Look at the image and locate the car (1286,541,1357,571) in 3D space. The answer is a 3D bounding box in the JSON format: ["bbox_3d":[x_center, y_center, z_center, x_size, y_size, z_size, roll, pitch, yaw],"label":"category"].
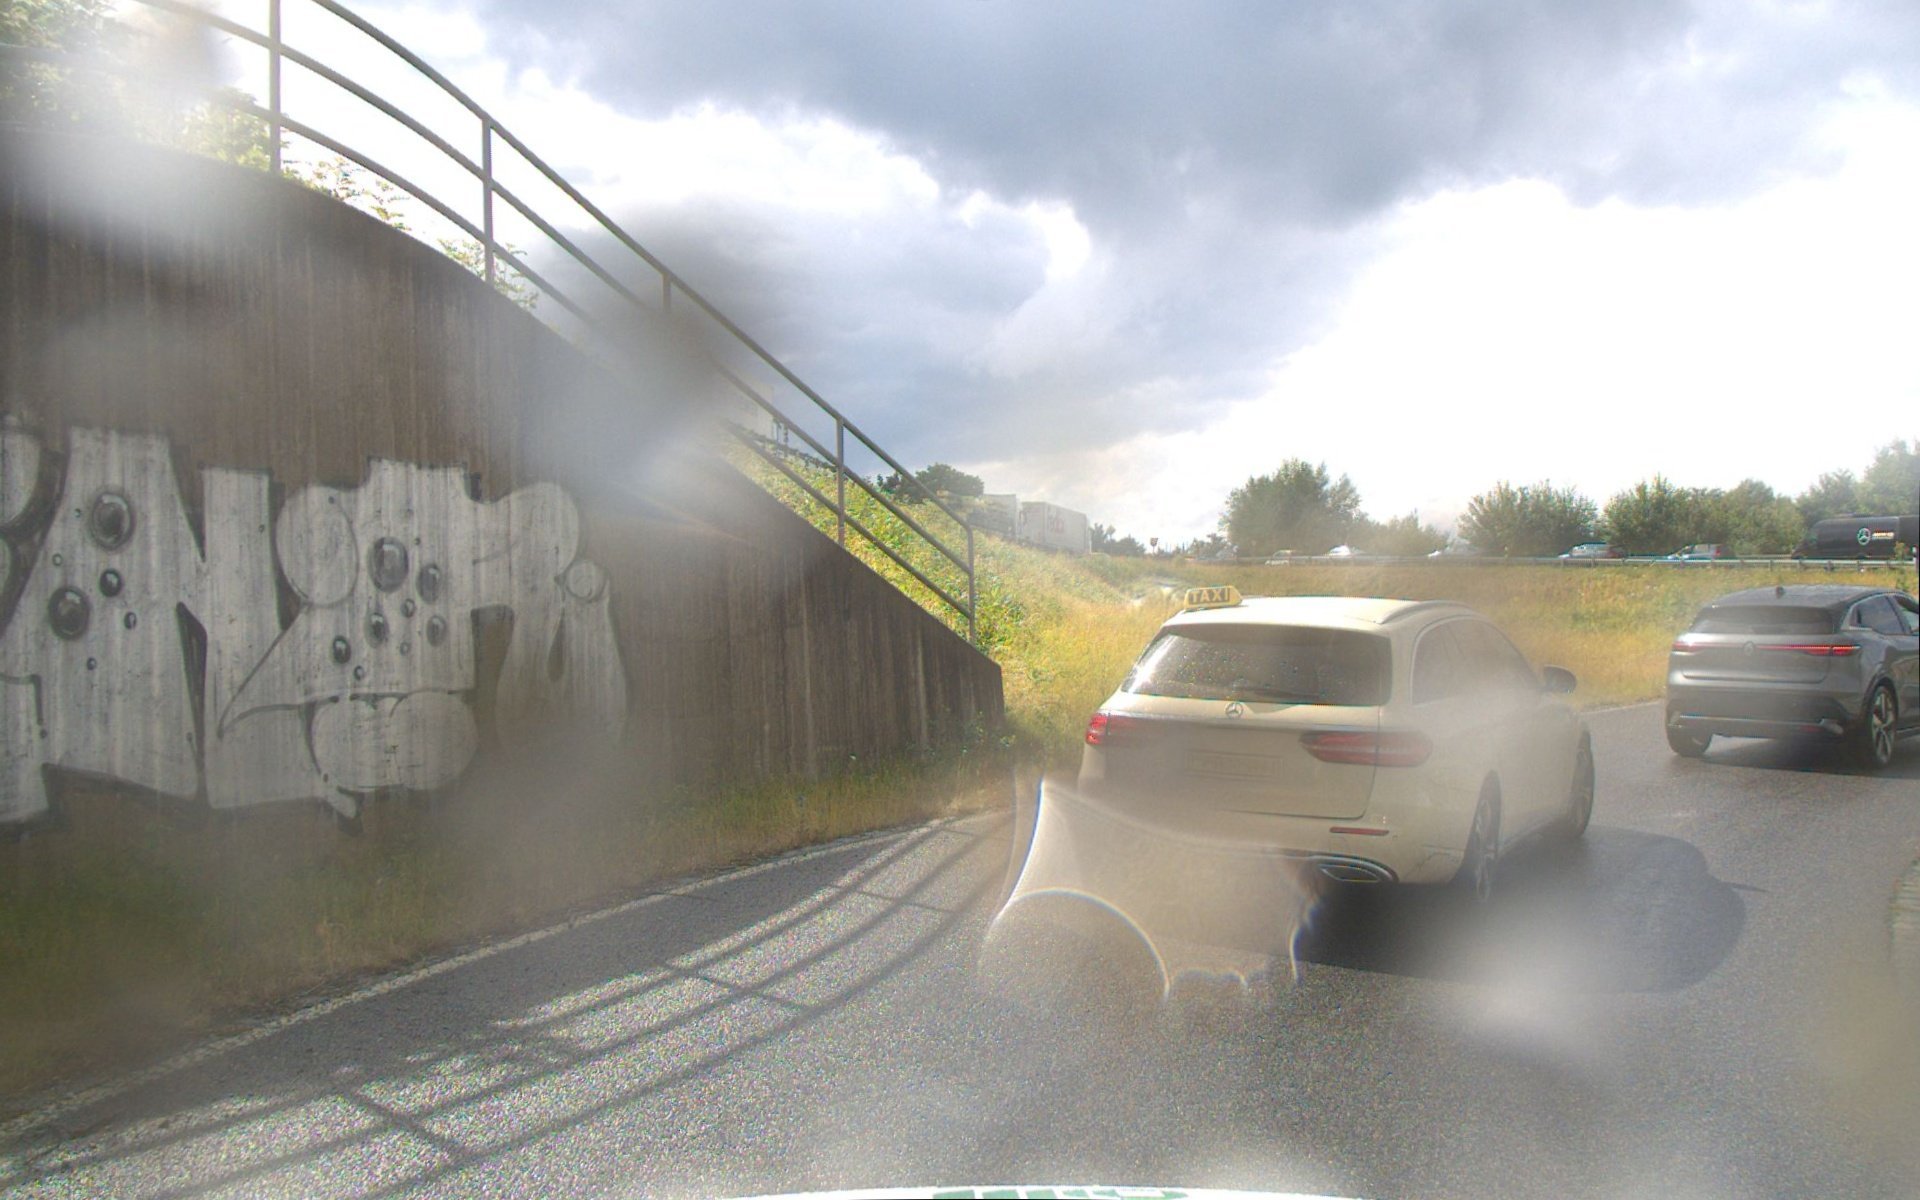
[{"bbox_3d":[25.707,-3.080,117.700,1.976,1.894,4.997,0,-1,-34],"label":"car"}]

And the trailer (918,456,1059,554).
[{"bbox_3d":[2.166,-5.543,101.728,4.319,4.025,20.231,0,-2,14],"label":"trailer"}]

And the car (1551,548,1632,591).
[{"bbox_3d":[37.048,-1.767,97.132,1.976,2.049,3.951,2,-6,-34],"label":"car"}]

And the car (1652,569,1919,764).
[{"bbox_3d":[8.041,0.537,15.192,3.969,1.551,1.696,0,-1,-44],"label":"car"}]

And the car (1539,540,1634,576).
[{"bbox_3d":[36.848,-2.460,97.428,1.977,1.894,4.994,0,-1,-35],"label":"car"}]

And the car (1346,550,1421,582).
[{"bbox_3d":[28.269,-2.248,110.443,4.427,1.894,1.990,-2,-1,40],"label":"car"}]

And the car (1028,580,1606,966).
[{"bbox_3d":[2.226,0.683,9.052,1.879,1.534,4.589,-1,0,28],"label":"car"}]

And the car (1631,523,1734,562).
[{"bbox_3d":[40.154,-3.151,92.001,1.975,1.894,5.000,0,-1,-32],"label":"car"}]

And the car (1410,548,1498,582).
[{"bbox_3d":[30.988,-2.194,103.836,1.983,1.894,4.978,0,-1,-42],"label":"car"}]

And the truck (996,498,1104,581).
[{"bbox_3d":[6.826,-4.156,120.633,4.365,4.582,19.388,0,-2,14],"label":"truck"}]

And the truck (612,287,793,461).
[{"bbox_3d":[-8.166,-7.122,53.990,3.112,4.036,9.243,0,-2,9],"label":"truck"}]

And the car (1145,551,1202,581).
[{"bbox_3d":[15.087,-2.399,116.712,3.902,2.049,1.828,0,-2,8],"label":"car"}]
